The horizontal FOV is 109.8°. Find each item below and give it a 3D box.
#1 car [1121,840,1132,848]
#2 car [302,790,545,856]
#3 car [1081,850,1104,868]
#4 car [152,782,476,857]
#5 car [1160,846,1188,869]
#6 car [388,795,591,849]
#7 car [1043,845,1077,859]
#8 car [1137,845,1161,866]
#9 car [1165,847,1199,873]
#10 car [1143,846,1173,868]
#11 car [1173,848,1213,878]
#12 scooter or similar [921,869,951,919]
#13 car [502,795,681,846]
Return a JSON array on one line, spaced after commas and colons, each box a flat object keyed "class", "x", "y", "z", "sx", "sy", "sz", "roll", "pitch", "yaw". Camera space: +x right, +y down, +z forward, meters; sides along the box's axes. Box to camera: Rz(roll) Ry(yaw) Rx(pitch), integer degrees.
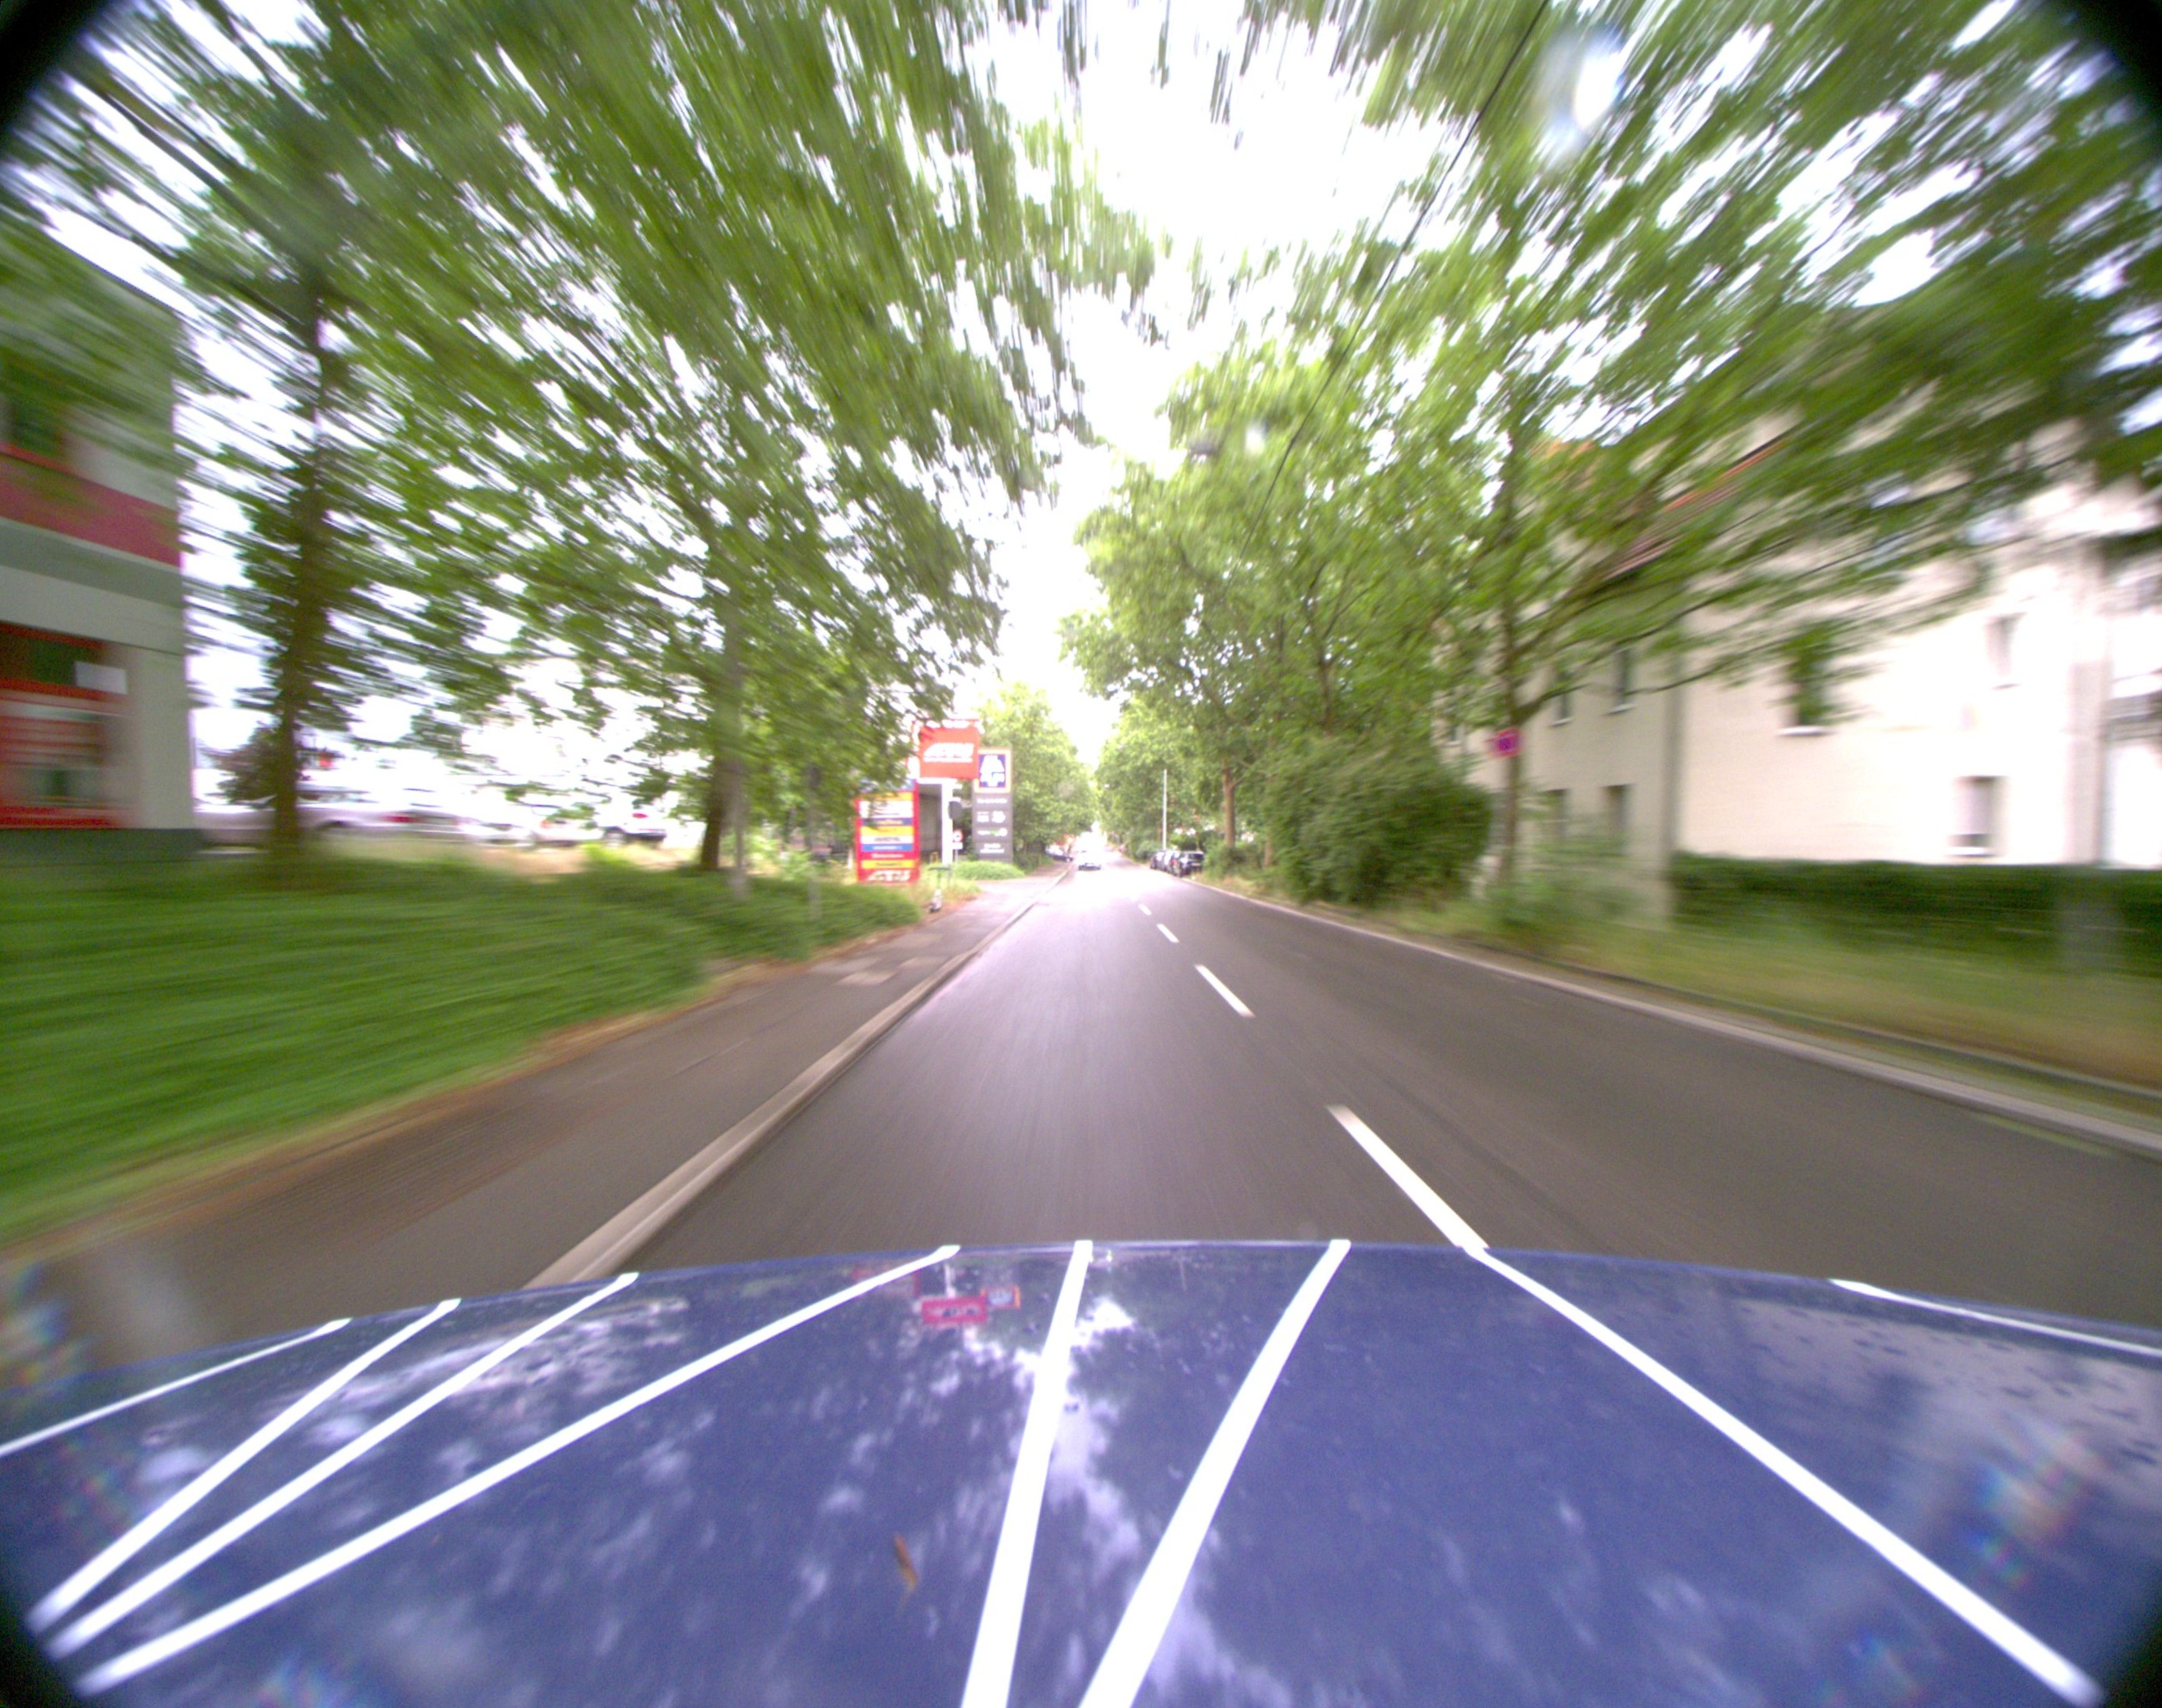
[{"class": "car", "x": 8.804, "y": -1.964, "z": 147.186, "sx": 1.721, "sy": 1.501, "sz": 4.802, "roll": -1, "pitch": 2, "yaw": -1}, {"class": "car", "x": -15.312, "y": -0.691, "z": 17.864, "sx": 4.110, "sy": 1.458, "sz": 1.884, "roll": 0, "pitch": 1, "yaw": 2}, {"class": "car", "x": 0.892, "y": 0.387, "z": 61.969, "sx": 1.692, "sy": 1.334, "sz": 3.998, "roll": 0, "pitch": 2, "yaw": -1}, {"class": "car", "x": -15.084, "y": -0.653, "z": 15.136, "sx": 4.621, "sy": 1.326, "sz": 1.800, "roll": -1, "pitch": 1, "yaw": 1}, {"class": "car", "x": 6.723, "y": 0.247, "z": 55.237, "sx": 1.676, "sy": 1.499, "sz": 4.123, "roll": -2, "pitch": 1, "yaw": 2}, {"class": "car", "x": -15.682, "y": -0.828, "z": 20.297, "sx": 3.928, "sy": 1.286, "sz": 1.832, "roll": -2, "pitch": 1, "yaw": 1}, {"class": "car", "x": -2.510, "y": -0.285, "z": 89.687, "sx": 3.860, "sy": 1.538, "sz": 2.025, "roll": 1, "pitch": 2, "yaw": -5}, {"class": "car", "x": 5.894, "y": 0.114, "z": 66.205, "sx": 1.738, "sy": 1.648, "sz": 4.564, "roll": 3, "pitch": 1, "yaw": 2}, {"class": "car", "x": 6.545, "y": 0.357, "z": 49.427, "sx": 1.676, "sy": 1.499, "sz": 3.873, "roll": 3, "pitch": 1, "yaw": 1}, {"class": "car", "x": 6.038, "y": 0.181, "z": 59.950, "sx": 1.869, "sy": 1.582, "sz": 4.238, "roll": 2, "pitch": 1, "yaw": -1}, {"class": "car", "x": 6.457, "y": 0.505, "z": 44.268, "sx": 1.652, "sy": 1.529, "sz": 4.017, "roll": 3, "pitch": 1, "yaw": 0}, {"class": "scooter or similar", "x": -3.720, "y": 0.999, "z": 19.580, "sx": 0.426, "sy": 1.135, "sz": 1.528, "roll": -2, "pitch": 3, "yaw": -1}, {"class": "car", "x": -14.668, "y": -0.993, "z": 22.952, "sx": 4.111, "sy": 1.368, "sz": 1.902, "roll": -2, "pitch": 1, "yaw": -1}]
